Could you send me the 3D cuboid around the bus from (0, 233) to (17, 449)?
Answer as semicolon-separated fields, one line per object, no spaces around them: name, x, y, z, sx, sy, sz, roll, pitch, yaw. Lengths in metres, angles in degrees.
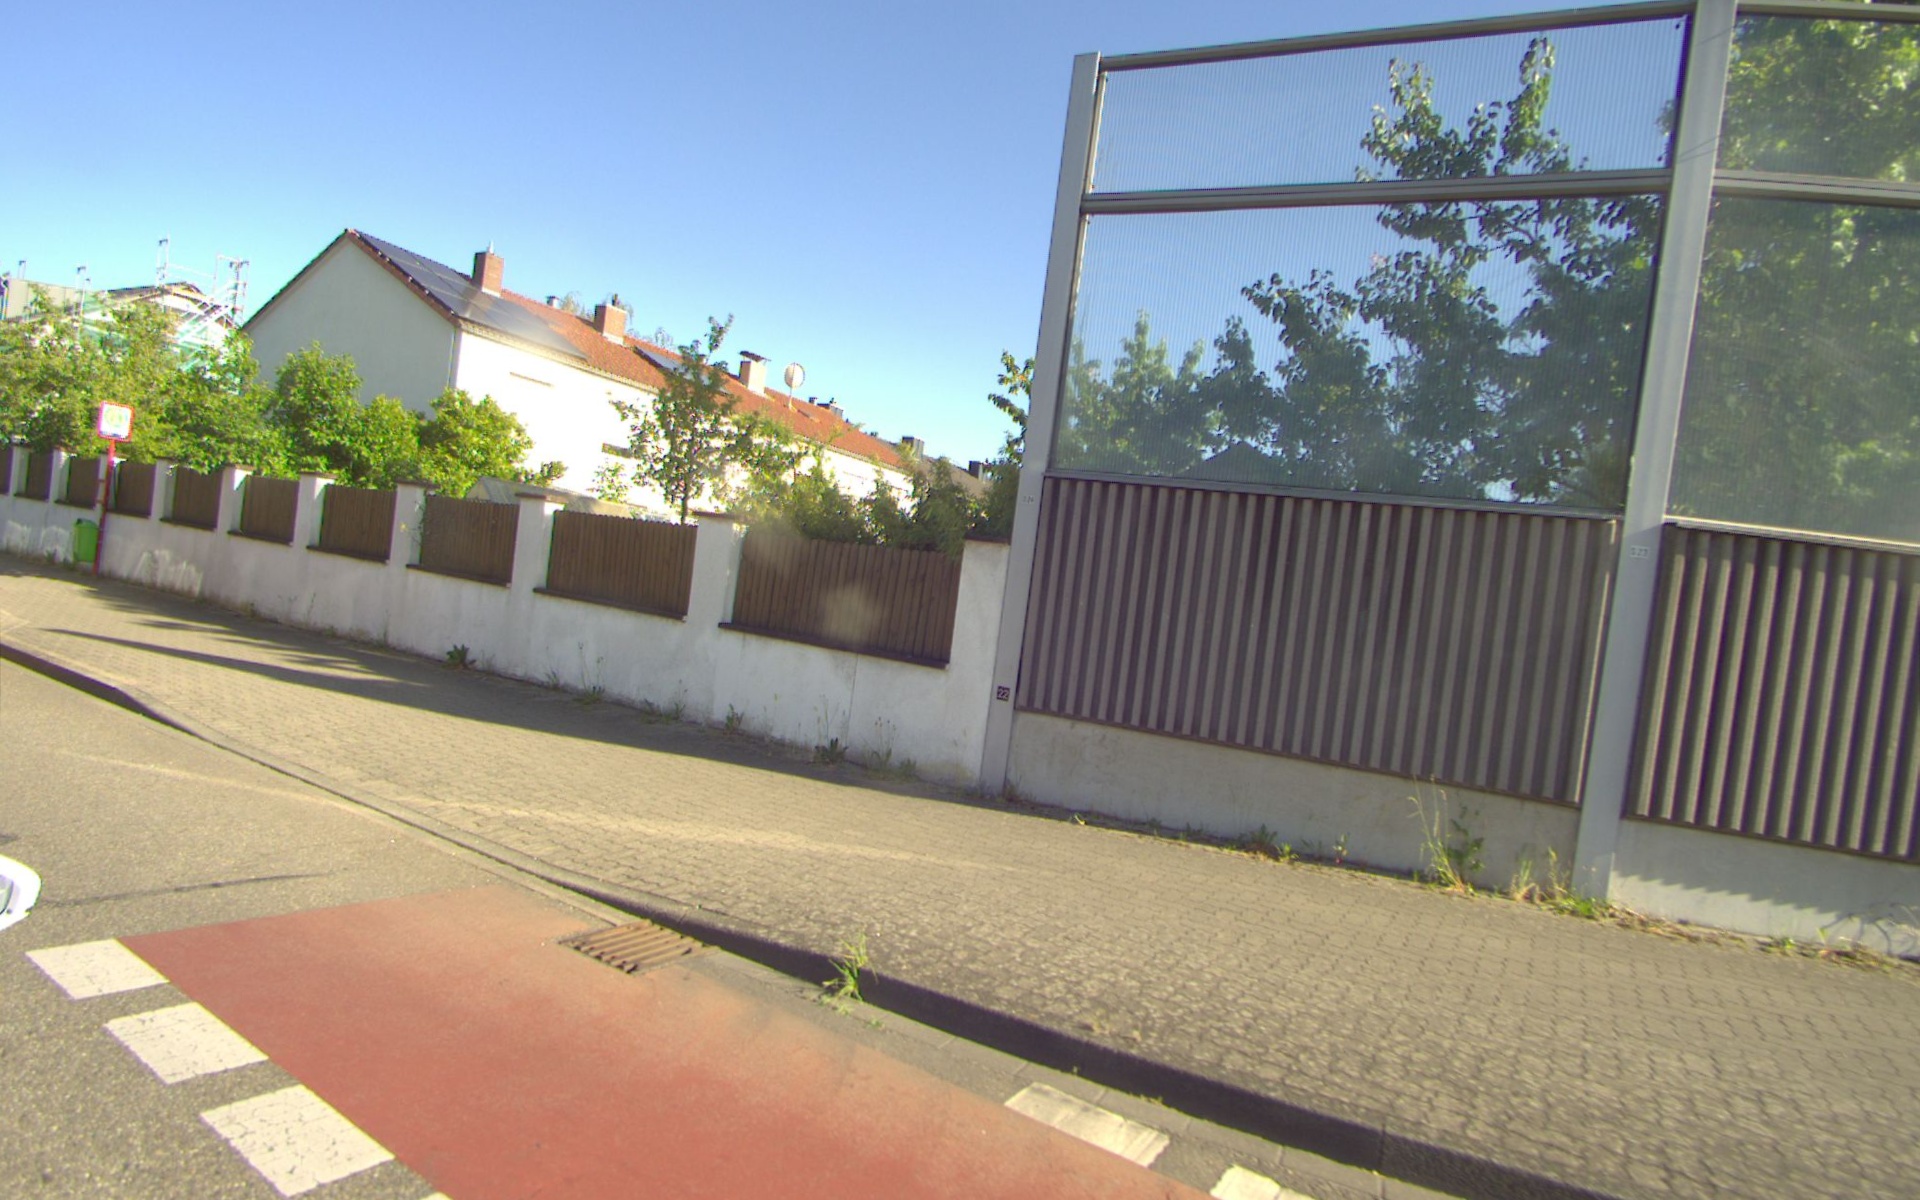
bus;-13.422;-1.751;10.563;12.206;3.502;2.757;6;0;36
